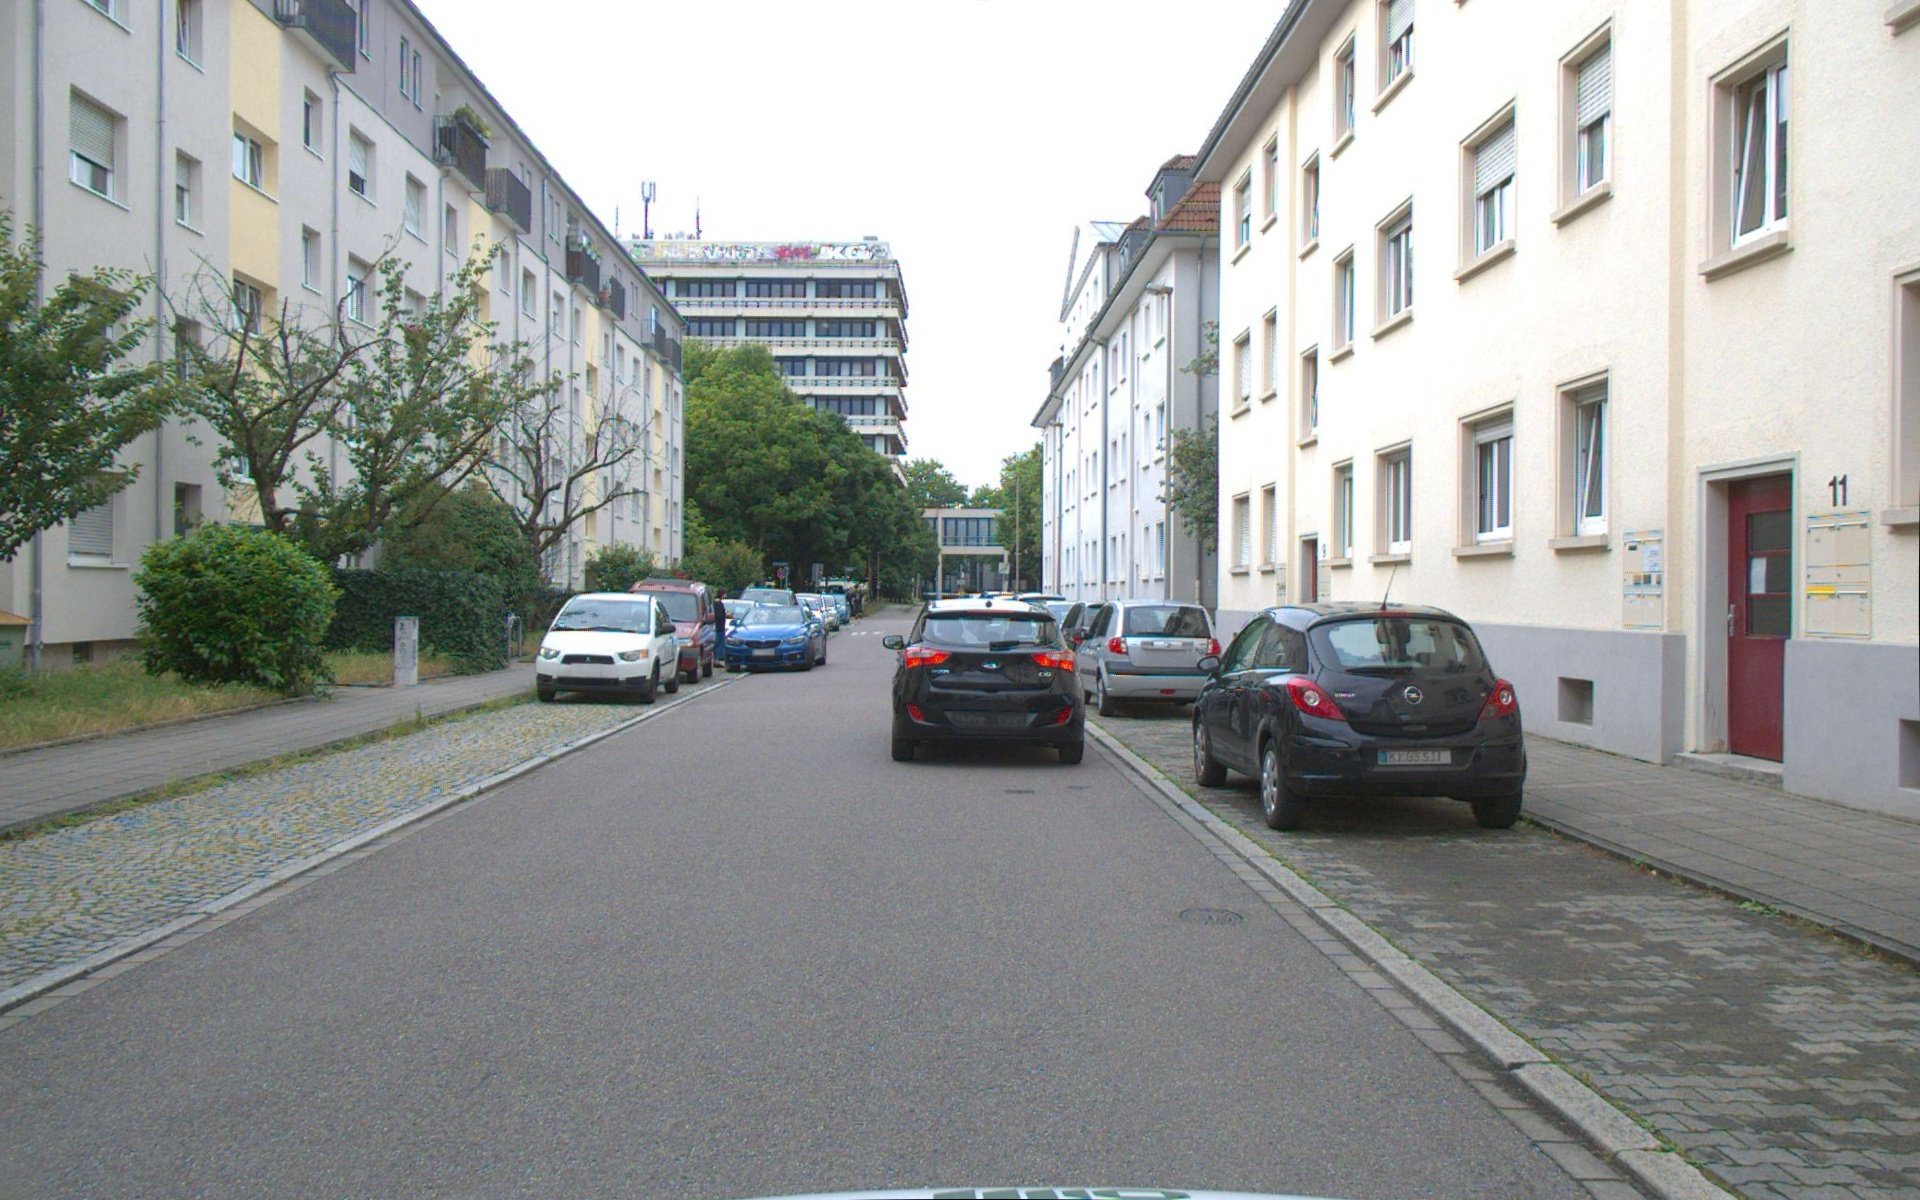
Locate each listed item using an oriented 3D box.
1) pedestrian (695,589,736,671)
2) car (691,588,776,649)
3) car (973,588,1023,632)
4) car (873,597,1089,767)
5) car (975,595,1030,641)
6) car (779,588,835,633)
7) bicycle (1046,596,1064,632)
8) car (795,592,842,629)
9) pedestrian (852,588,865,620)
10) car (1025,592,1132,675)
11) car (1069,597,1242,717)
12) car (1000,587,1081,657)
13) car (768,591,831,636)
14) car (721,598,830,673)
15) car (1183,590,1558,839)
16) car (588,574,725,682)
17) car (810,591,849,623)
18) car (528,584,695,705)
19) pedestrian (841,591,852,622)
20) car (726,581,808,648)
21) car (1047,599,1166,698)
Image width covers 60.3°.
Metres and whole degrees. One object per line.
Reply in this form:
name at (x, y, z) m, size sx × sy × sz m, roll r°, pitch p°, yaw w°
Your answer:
pedestrian at (-5.250, 0.631, 35.515) m, size 0.729 × 1.731 × 0.792 m, roll 0°, pitch 0°, yaw -19°
car at (-5.704, 0.431, 42.010) m, size 1.709 × 1.490 × 3.785 m, roll 0°, pitch 0°, yaw -1°
car at (1.424, 0.348, 63.110) m, size 1.783 × 1.631 × 4.090 m, roll 0°, pitch 0°, yaw -1°
car at (0.162, 0.702, 16.387) m, size 1.864 × 1.458 × 4.232 m, roll 0°, pitch 0°, yaw -1°
car at (1.466, 0.604, 58.065) m, size 1.783 × 1.529 × 4.090 m, roll 0°, pitch 0°, yaw -1°
car at (-5.989, 0.372, 65.192) m, size 1.857 × 1.626 × 4.520 m, roll 3°, pitch 0°, yaw -1°
bicycle at (3.243, 0.470, 56.373) m, size 0.519 × 1.196 × 2.038 m, roll -1°, pitch 0°, yaw 5°
car at (-6.276, 0.444, 73.494) m, size 1.954 × 1.568 × 3.997 m, roll 1°, pitch 0°, yaw -4°
pedestrian at (-6.019, 0.239, 97.997) m, size 0.699 × 1.863 × 0.797 m, roll 0°, pitch 0°, yaw 0°
car at (2.278, 0.612, 32.786) m, size 1.690 × 1.502 × 4.503 m, roll 1°, pitch 0°, yaw -1°
car at (2.560, 0.703, 22.508) m, size 1.811 × 1.475 × 3.832 m, roll 1°, pitch 0°, yaw -1°
car at (1.989, 0.513, 41.940) m, size 1.783 × 1.671 × 4.090 m, roll 1°, pitch 0°, yaw -1°
car at (-5.703, 0.457, 59.076) m, size 1.857 × 1.477 × 4.520 m, roll 3°, pitch 0°, yaw -1°
car at (-3.886, 0.714, 35.494) m, size 1.807 × 1.476 × 4.501 m, roll 1°, pitch 0°, yaw 0°
car at (2.837, 0.702, 12.335) m, size 1.690 × 1.544 × 4.059 m, roll 0°, pitch 0°, yaw -2°
car at (-5.481, 0.464, 30.355) m, size 1.918 × 1.801 × 4.359 m, roll 1°, pitch 0°, yaw -4°
car at (-6.752, 0.358, 85.802) m, size 1.954 × 1.568 × 3.997 m, roll 1°, pitch 0°, yaw -4°
car at (-5.071, 0.600, 24.530) m, size 1.686 × 1.597 × 3.869 m, roll 2°, pitch 0°, yaw -1°
pedestrian at (-6.709, 0.392, 98.142) m, size 0.592 × 1.863 × 0.675 m, roll 0°, pitch 0°, yaw 0°
car at (-5.505, 0.391, 47.562) m, size 1.857 × 1.770 × 4.473 m, roll 3°, pitch 0°, yaw -1°
car at (2.413, 0.763, 27.968) m, size 1.570 × 1.502 × 3.868 m, roll 1°, pitch 0°, yaw -1°
